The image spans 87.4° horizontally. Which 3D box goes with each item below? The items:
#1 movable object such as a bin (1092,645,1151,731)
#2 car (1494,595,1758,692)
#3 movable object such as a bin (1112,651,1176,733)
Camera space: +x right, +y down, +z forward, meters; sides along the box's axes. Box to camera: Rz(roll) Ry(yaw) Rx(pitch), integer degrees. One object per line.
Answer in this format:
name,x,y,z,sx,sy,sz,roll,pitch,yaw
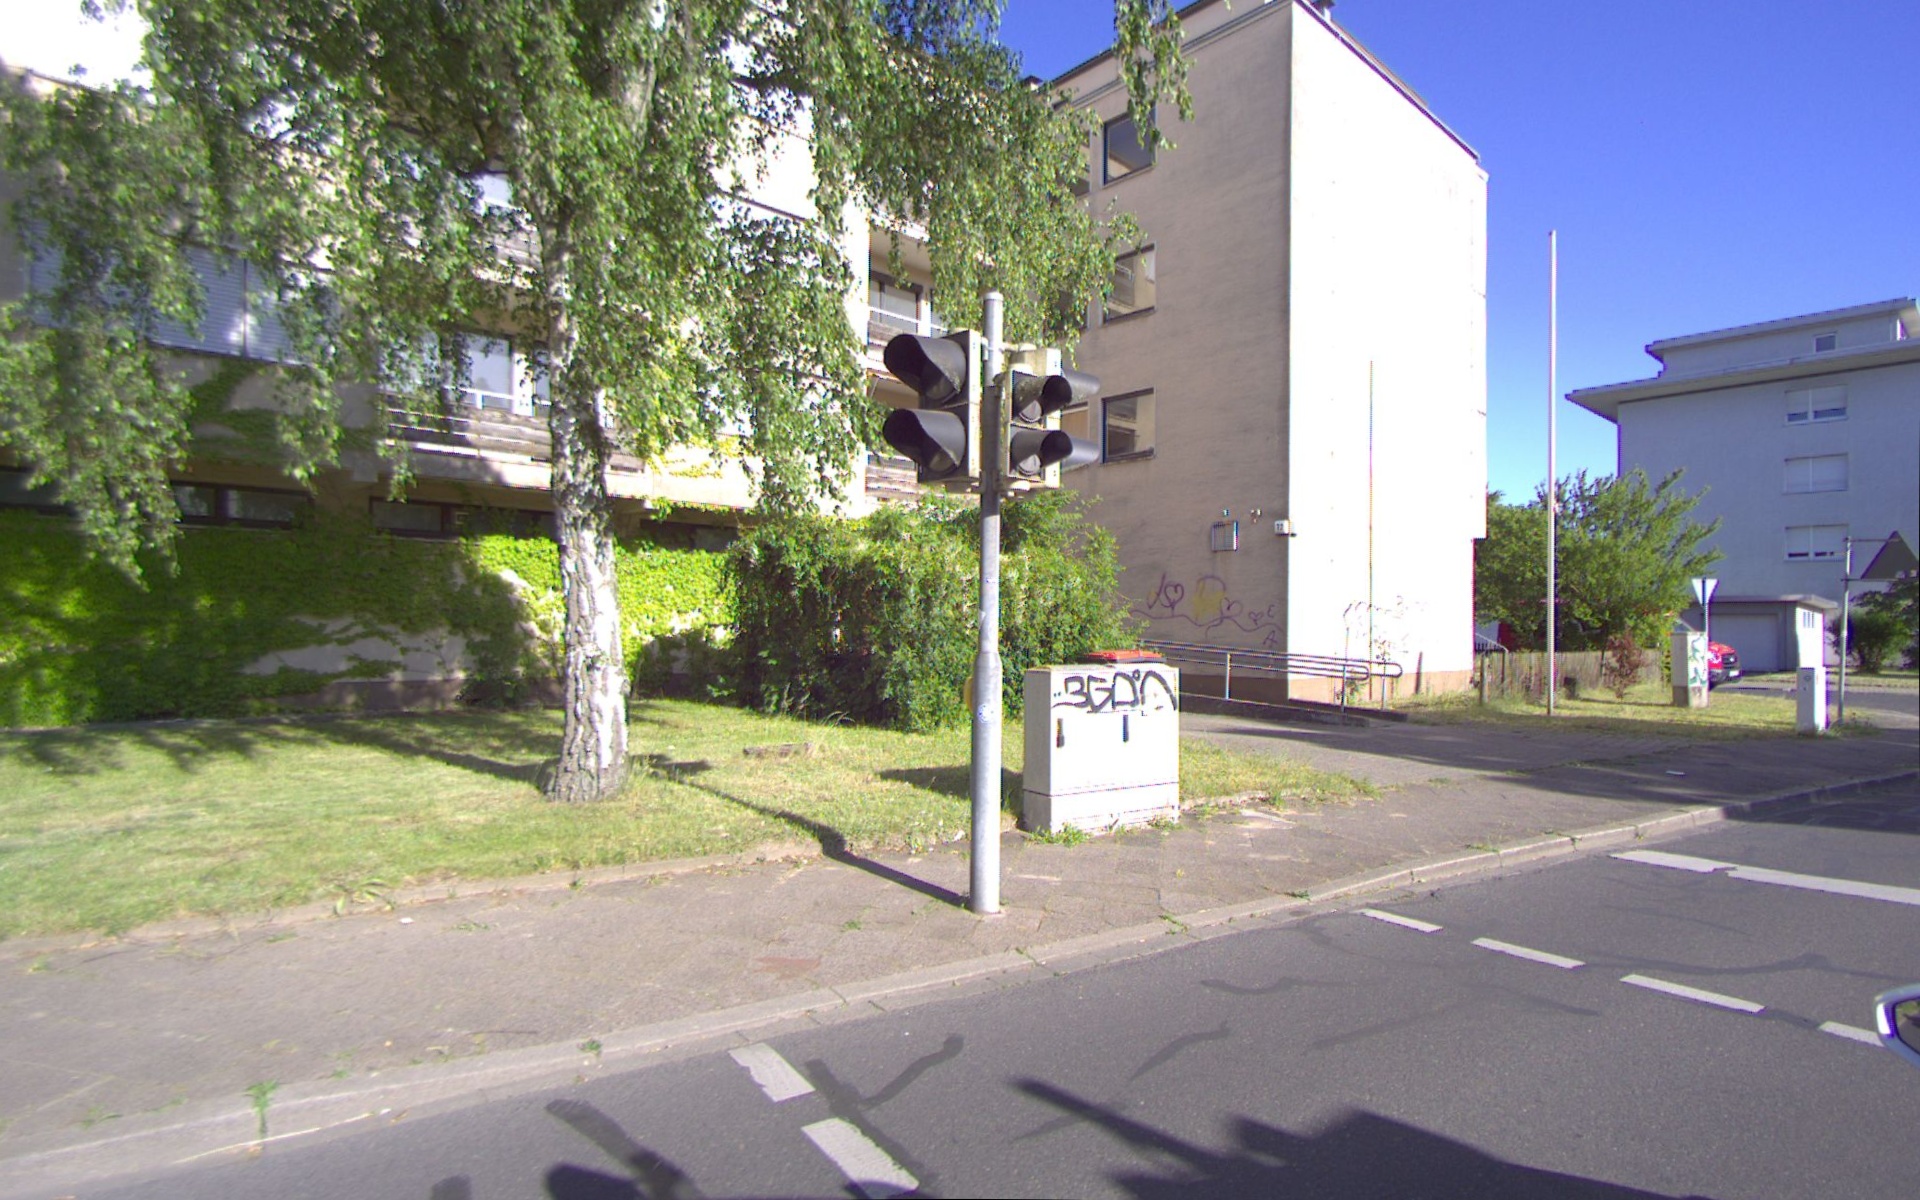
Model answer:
movable object such as a bin,2.111,1.134,13.123,0.556,1.067,0.555,0,-2,37
car,18.725,1.185,28.616,2.188,2.461,5.875,0,-2,-31
movable object such as a bin,2.499,1.228,13.630,0.618,1.062,0.700,0,-2,35
